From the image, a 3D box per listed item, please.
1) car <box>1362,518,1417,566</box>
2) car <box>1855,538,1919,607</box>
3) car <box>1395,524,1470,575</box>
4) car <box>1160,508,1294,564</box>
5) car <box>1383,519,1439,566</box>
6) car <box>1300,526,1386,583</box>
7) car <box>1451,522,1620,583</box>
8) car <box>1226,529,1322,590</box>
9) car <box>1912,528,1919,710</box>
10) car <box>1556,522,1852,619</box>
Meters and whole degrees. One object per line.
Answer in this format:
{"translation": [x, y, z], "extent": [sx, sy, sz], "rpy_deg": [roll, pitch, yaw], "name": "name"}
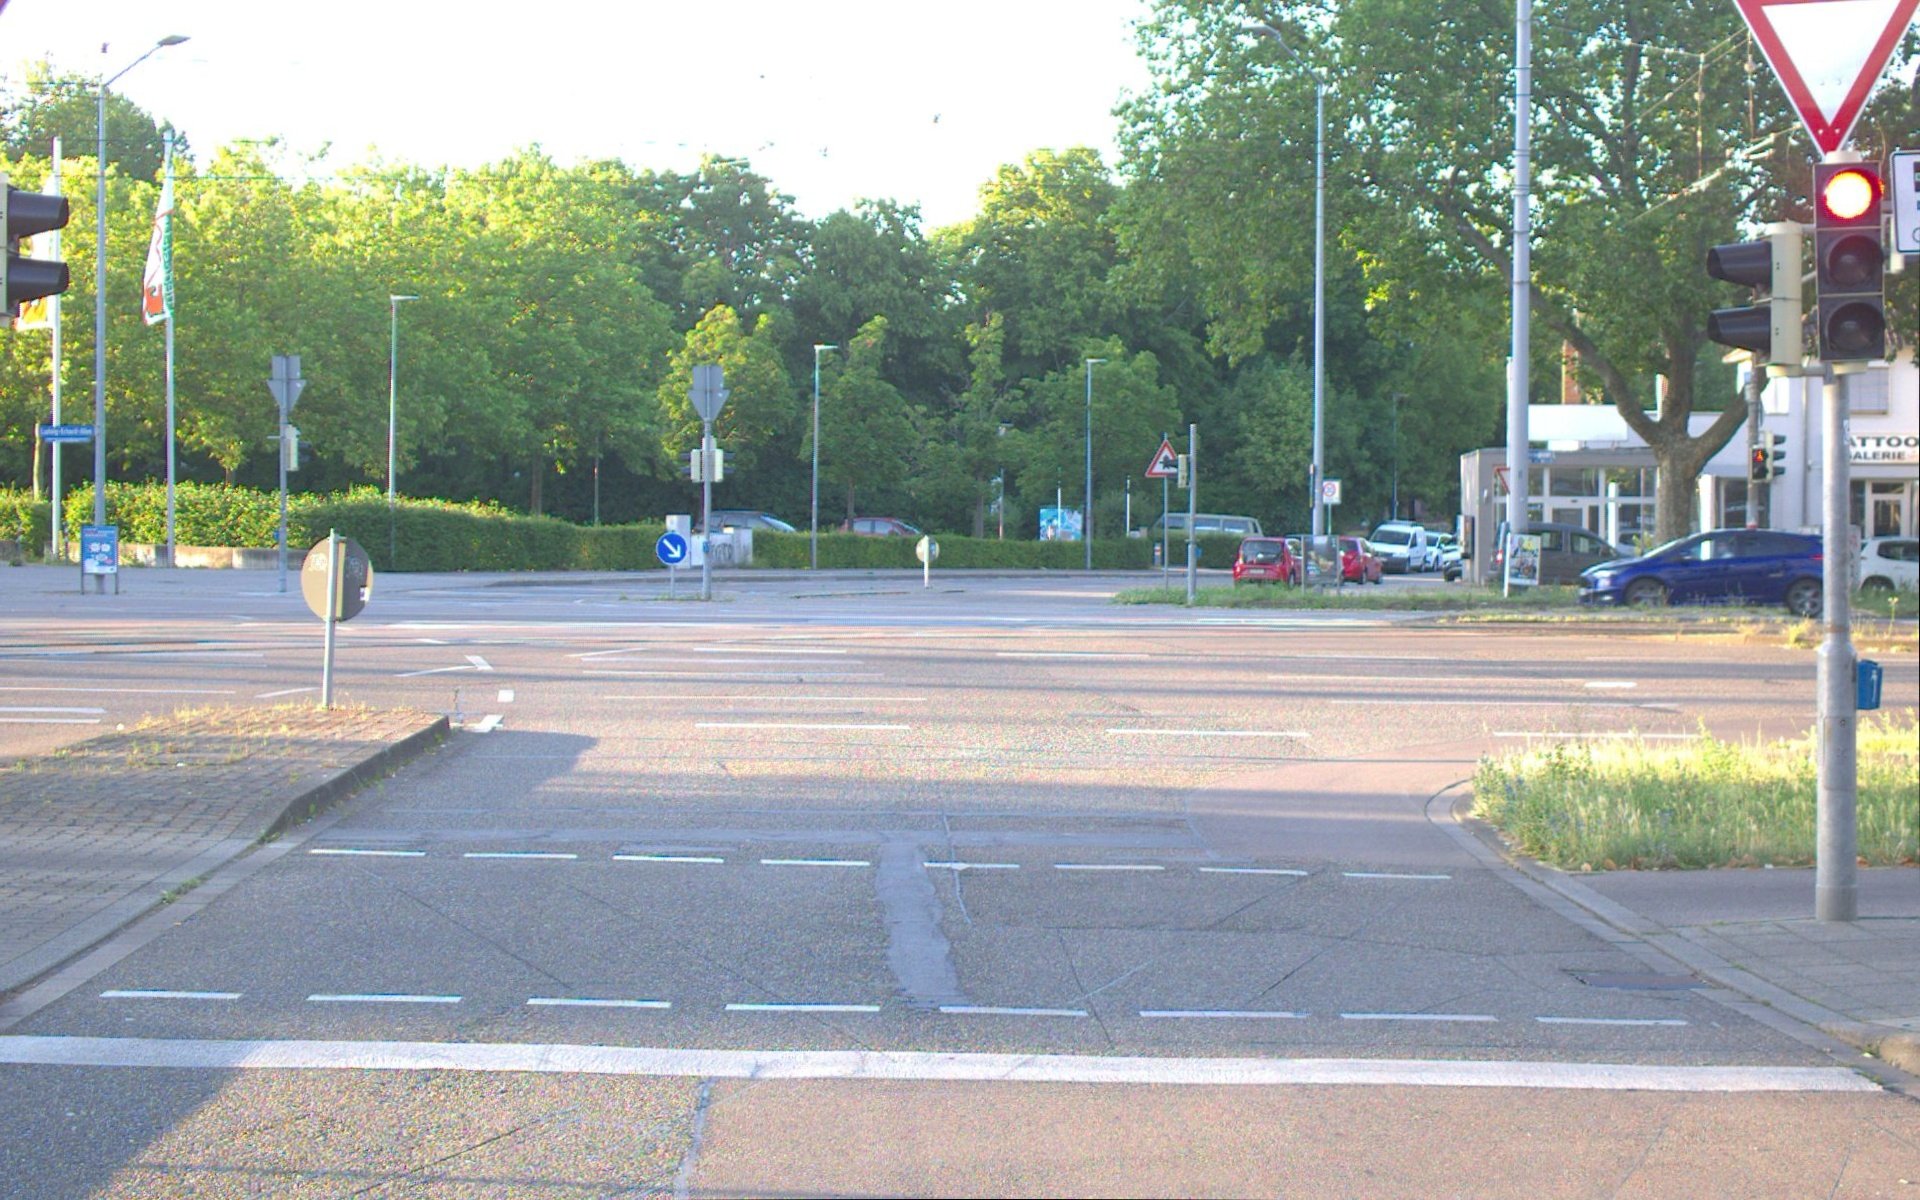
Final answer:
{"translation": [16.411, -2.205, 131.185], "extent": [1.864, 1.788, 3.998], "rpy_deg": [1, 0, 10], "name": "car"}
{"translation": [20.804, -0.570, 72.159], "extent": [3.741, 1.435, 1.663], "rpy_deg": [1, 0, 9], "name": "car"}
{"translation": [15.907, -1.690, 115.594], "extent": [1.995, 1.656, 3.997], "rpy_deg": [1, 0, 15], "name": "car"}
{"translation": [9.767, -2.335, 125.870], "extent": [4.774, 1.999, 2.000], "rpy_deg": [0, 0, 2], "name": "car"}
{"translation": [17.866, -2.268, 136.079], "extent": [1.864, 1.788, 3.998], "rpy_deg": [1, 0, 12], "name": "car"}
{"translation": [11.543, -1.350, 103.369], "extent": [1.995, 1.656, 3.997], "rpy_deg": [1, 0, 15], "name": "car"}
{"translation": [14.899, -1.226, 89.164], "extent": [4.220, 1.547, 1.999], "rpy_deg": [1, 0, 7], "name": "car"}
{"translation": [8.763, -1.111, 95.682], "extent": [1.995, 1.656, 3.997], "rpy_deg": [1, 0, 15], "name": "car"}
{"translation": [10.466, 0.198, 27.693], "extent": [5.007, 1.506, 1.988], "rpy_deg": [1, 1, -2], "name": "car"}
{"translation": [12.270, -0.483, 56.884], "extent": [4.472, 1.547, 2.000], "rpy_deg": [0, 0, 1], "name": "car"}
